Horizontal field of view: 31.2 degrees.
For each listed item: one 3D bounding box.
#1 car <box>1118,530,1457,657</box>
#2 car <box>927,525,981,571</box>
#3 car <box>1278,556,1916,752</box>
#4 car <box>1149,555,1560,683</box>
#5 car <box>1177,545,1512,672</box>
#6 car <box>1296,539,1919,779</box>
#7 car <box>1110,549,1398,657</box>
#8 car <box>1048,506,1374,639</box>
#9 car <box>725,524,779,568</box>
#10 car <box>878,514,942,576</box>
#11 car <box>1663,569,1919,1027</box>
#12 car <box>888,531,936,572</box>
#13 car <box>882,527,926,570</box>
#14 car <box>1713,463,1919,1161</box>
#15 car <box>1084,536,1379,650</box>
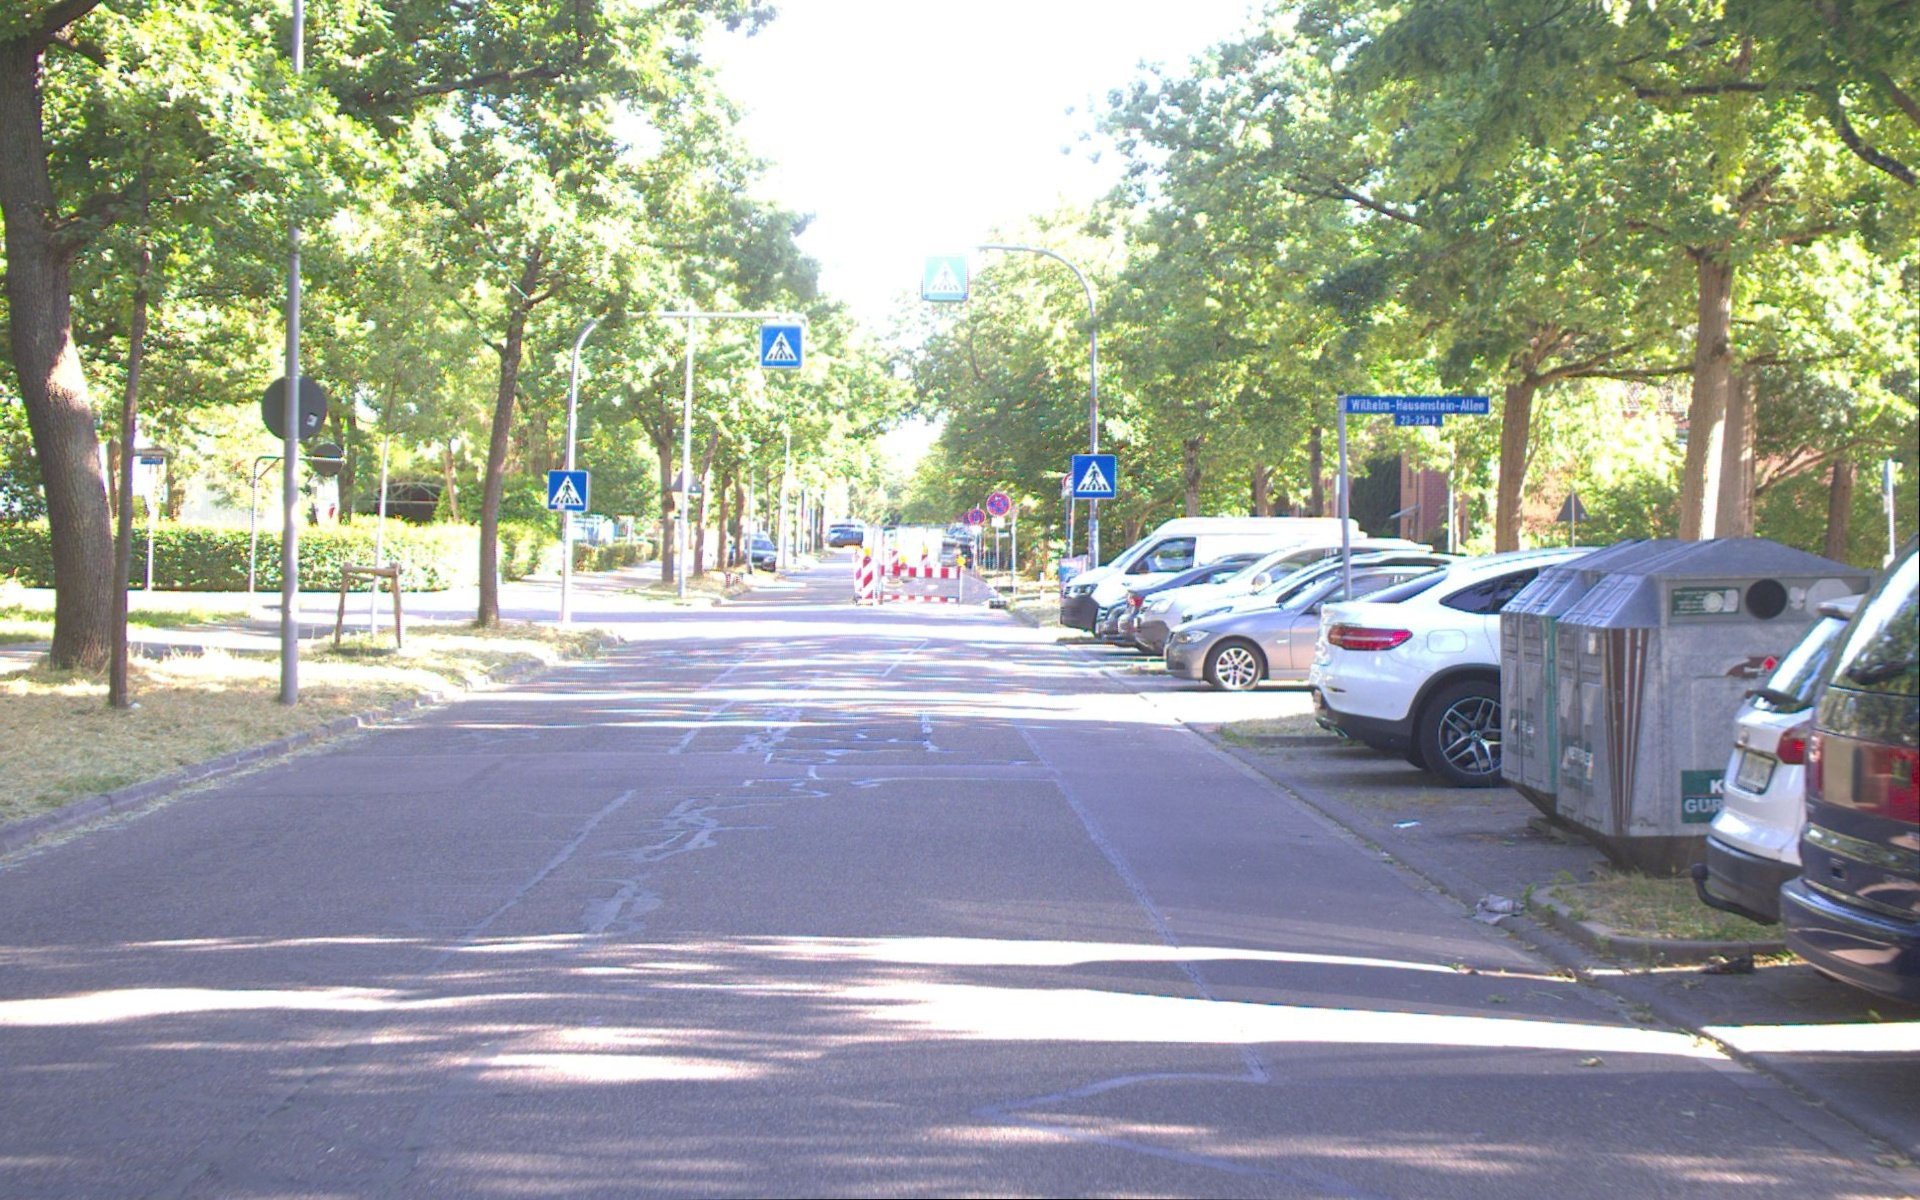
[{"bbox_3d":[4.426,-0.107,46.878,4.384,1.645,1.851,-1,1,-2],"label":"car"},{"bbox_3d":[-0.252,-2.038,133.921,1.993,1.711,4.000,2,1,-1],"label":"car"},{"bbox_3d":[4.965,0.400,27.248,4.670,1.450,1.917,0,1,-1],"label":"car"},{"bbox_3d":[4.453,0.203,39.275,4.445,1.385,1.911,0,1,-1],"label":"car"},{"bbox_3d":[4.688,0.084,42.258,3.884,1.492,1.777,-1,1,-1],"label":"car"},{"bbox_3d":[4.776,0.379,23.975,4.670,1.575,1.917,0,1,0],"label":"car"},{"bbox_3d":[4.185,0.028,49.414,3.987,1.428,1.901,1,1,1],"label":"car"},{"bbox_3d":[4.122,-0.465,57.183,5.186,2.098,2.083,1,1,-2],"label":"car"},{"bbox_3d":[-8.466,-2.205,140.153,1.993,1.711,4.000,2,1,-1],"label":"car"},{"bbox_3d":[-1.653,-1.803,112.916,1.993,1.926,4.000,2,1,-1],"label":"car"},{"bbox_3d":[4.751,0.628,12.040,4.221,1.467,1.800,0,1,1],"label":"car"},{"bbox_3d":[-2.113,-2.108,149.666,1.993,1.711,4.000,2,1,-1],"label":"car"},{"bbox_3d":[-2.689,-2.473,163.479,1.993,1.962,4.000,2,1,-1],"label":"car"},{"bbox_3d":[4.633,0.529,9.809,4.530,1.795,1.936,0,1,0],"label":"car"},{"bbox_3d":[4.068,-0.122,52.030,4.212,1.563,1.934,2,1,-2],"label":"car"}]
